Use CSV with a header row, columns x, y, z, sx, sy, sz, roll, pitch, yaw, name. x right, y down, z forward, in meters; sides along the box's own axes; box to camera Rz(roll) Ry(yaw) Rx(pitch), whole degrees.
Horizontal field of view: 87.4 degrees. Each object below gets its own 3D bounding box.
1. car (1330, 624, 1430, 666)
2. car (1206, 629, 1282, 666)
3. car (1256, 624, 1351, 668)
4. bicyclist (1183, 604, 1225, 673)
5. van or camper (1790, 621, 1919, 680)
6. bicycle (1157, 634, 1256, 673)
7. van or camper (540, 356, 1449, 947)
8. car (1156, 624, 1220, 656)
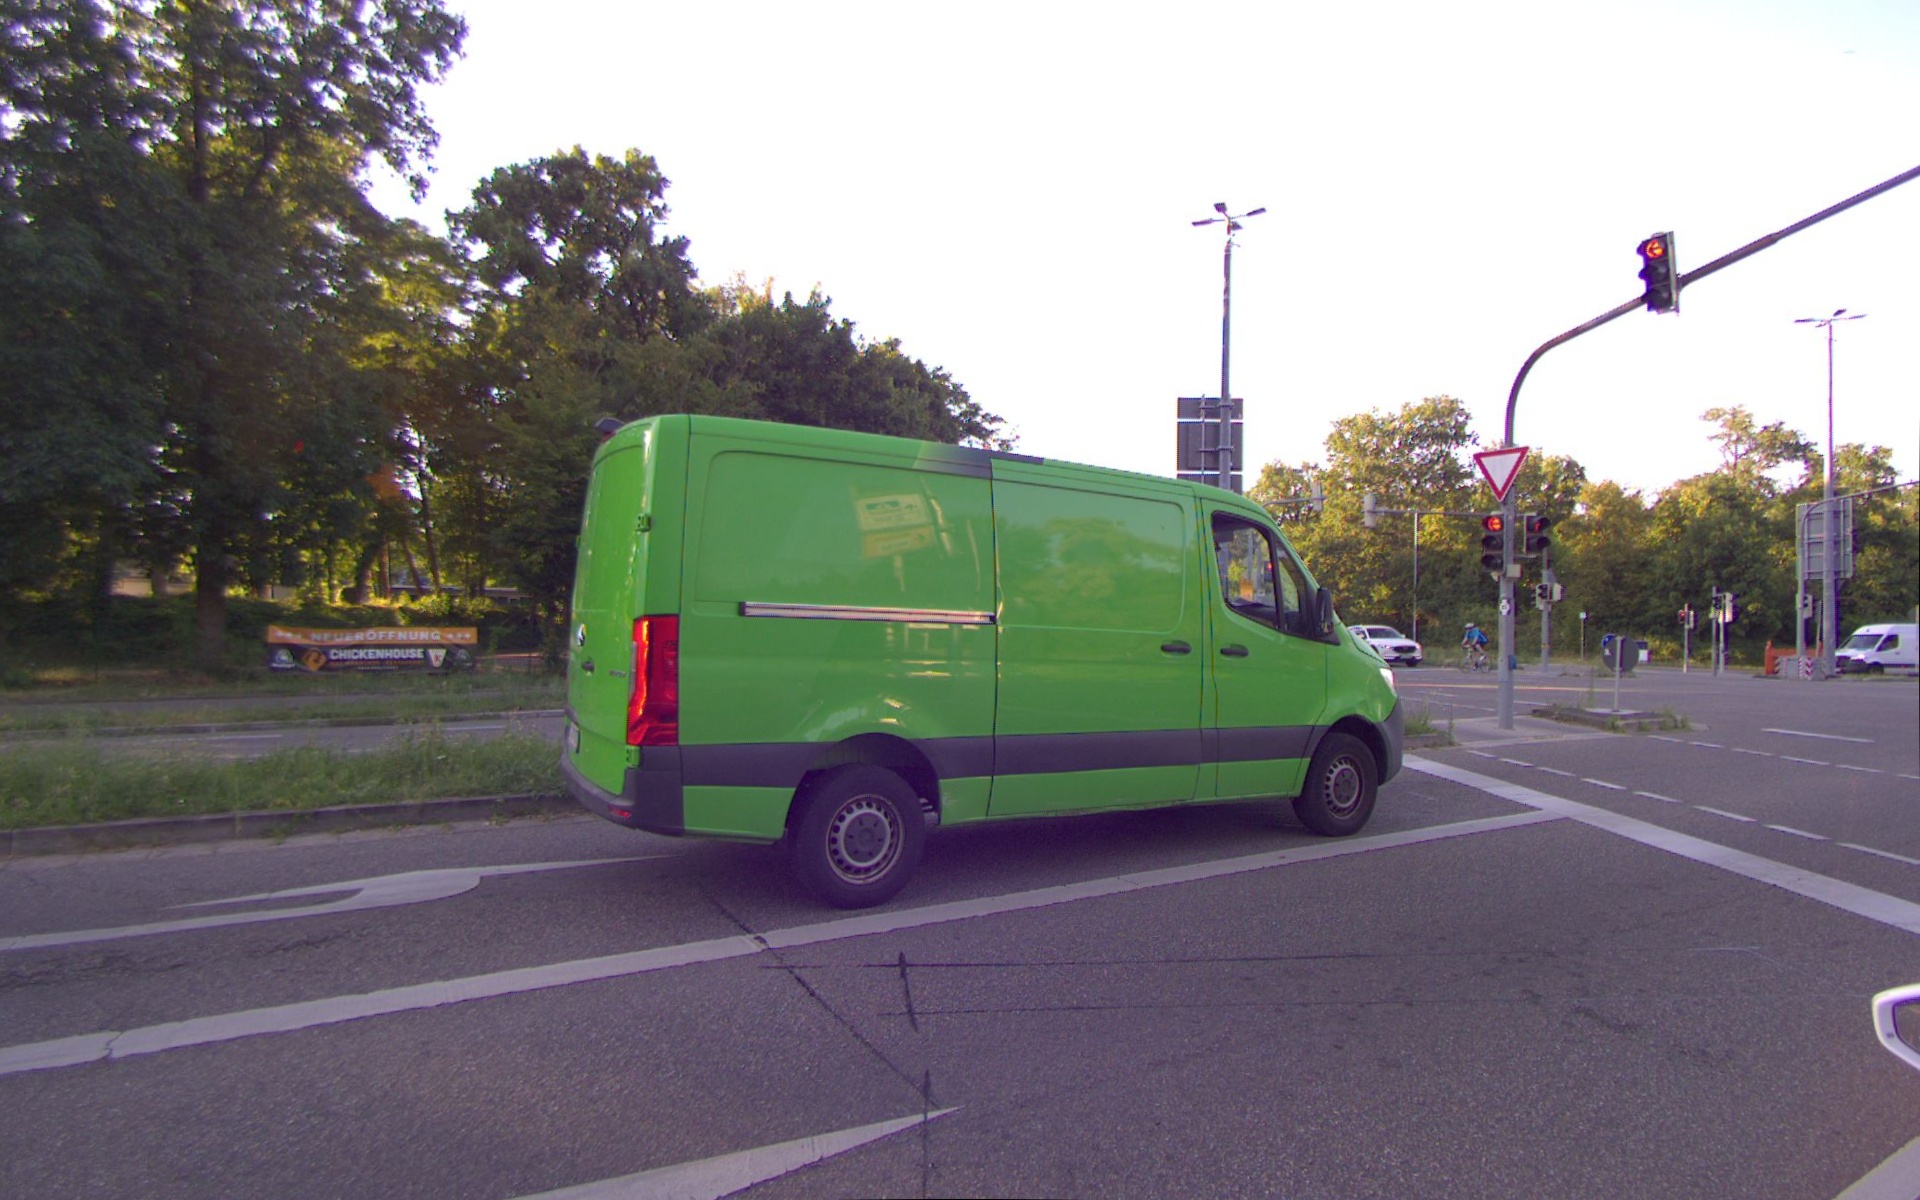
x,y,z,sx,sy,sz,roll,pitch,yaw,name
17.502,1.849,42.103,1.963,1.661,4.252,1,-1,-8,car
13.505,2.227,48.045,1.963,1.661,4.252,1,-1,-8,car
13.815,1.815,40.697,1.963,1.661,4.252,1,-1,-8,car
6.861,1.067,28.267,0.961,1.904,0.676,1,-1,-5,bicyclist
43.953,2.383,47.630,6.983,2.687,2.894,1,-1,-2,van or camper
6.917,1.504,28.247,2.597,1.044,0.768,1,-1,-3,bicycle
0.544,0.293,6.564,5.830,2.453,1.983,2,-1,-32,van or camper
12.693,2.217,56.198,1.964,1.661,4.250,1,-1,-10,car
